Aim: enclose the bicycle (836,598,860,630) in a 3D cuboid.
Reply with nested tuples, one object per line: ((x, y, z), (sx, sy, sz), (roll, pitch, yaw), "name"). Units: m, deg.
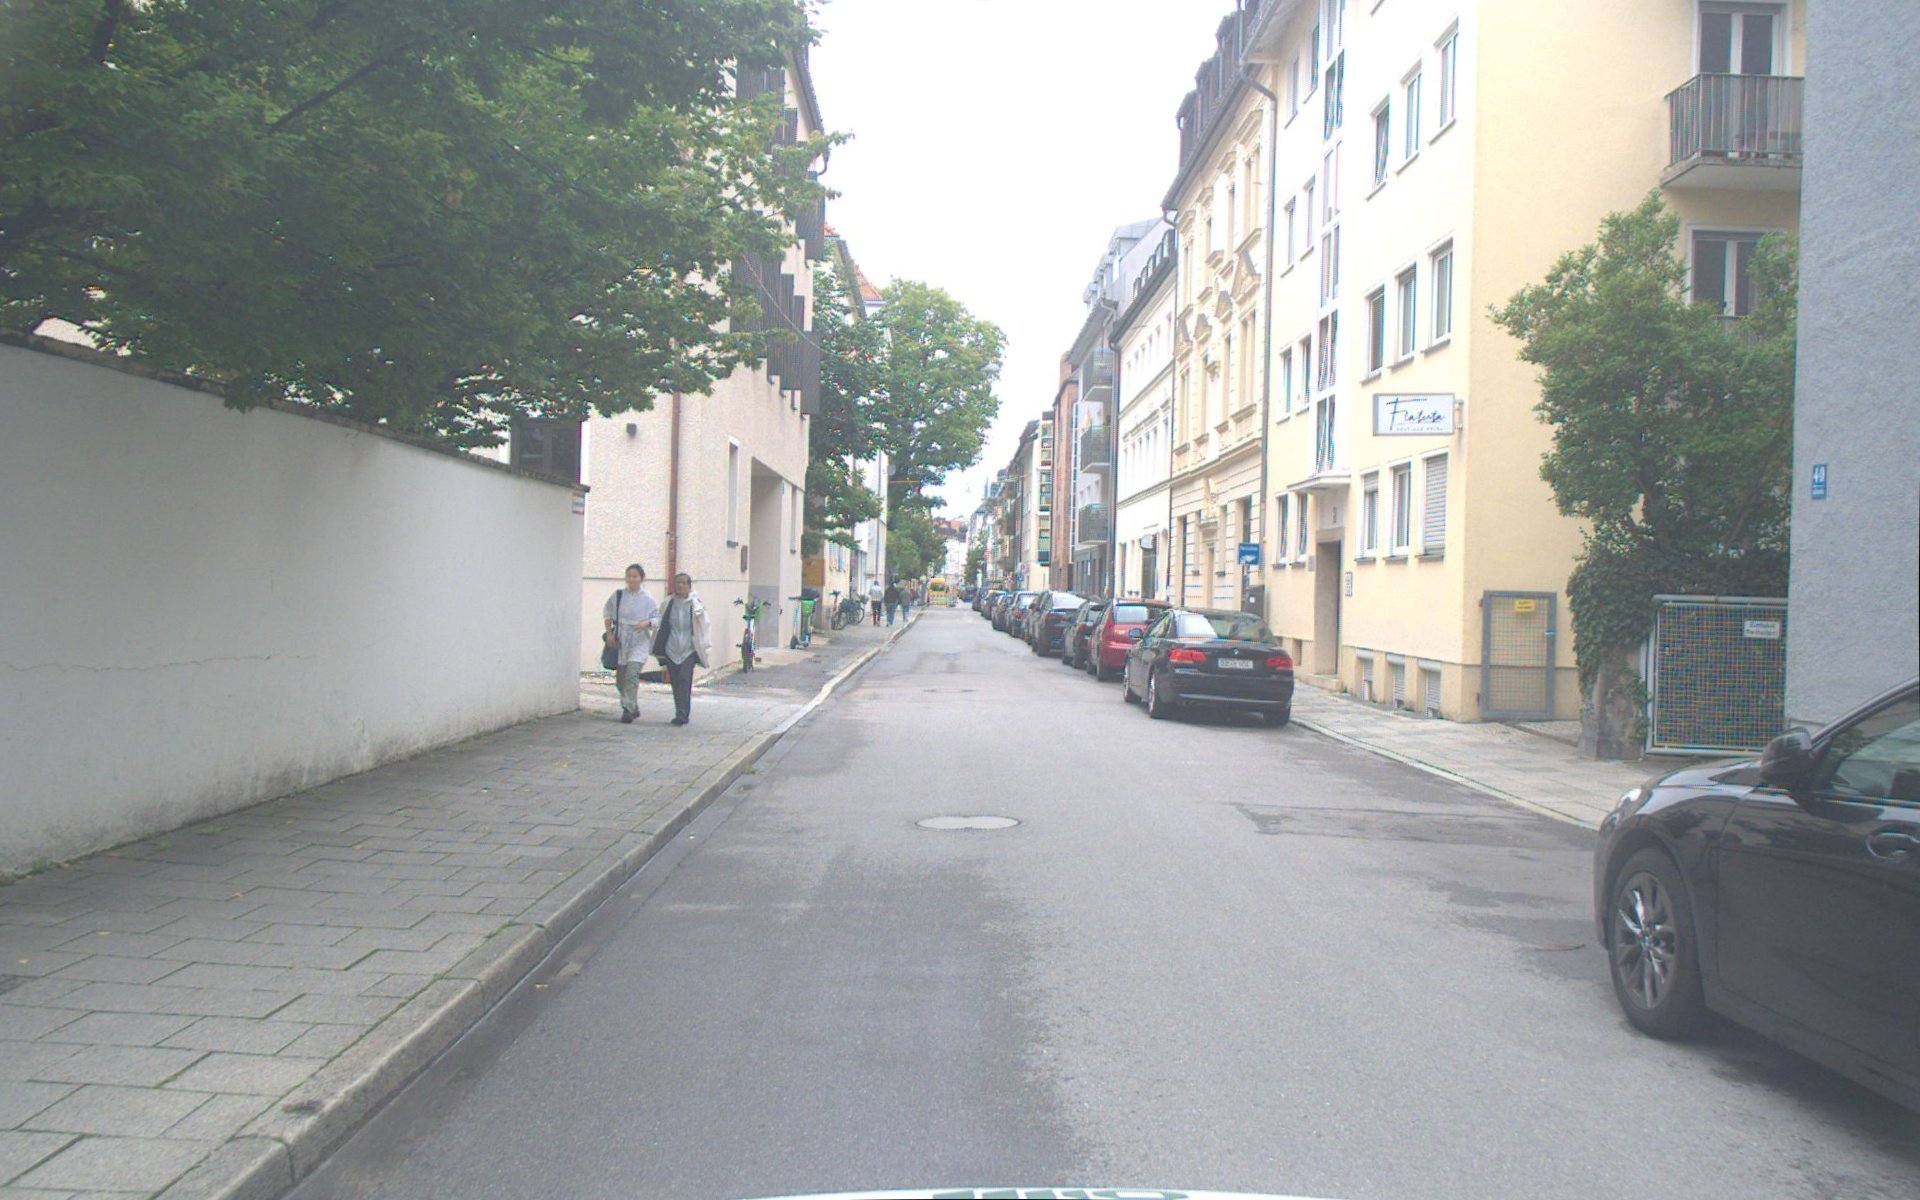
((-3.820, 0.464, 56.232), (0.690, 1.001, 1.821), (5, 0, -5), "bicycle")

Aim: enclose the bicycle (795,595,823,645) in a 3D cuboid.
((-3.740, 0.483, 41.166), (0.533, 1.181, 1.881), (3, 0, -2), "bicycle")

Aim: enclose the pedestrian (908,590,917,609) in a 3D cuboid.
((-3.994, -0.045, 138.565), (0.740, 1.517, 0.831), (0, 0, 0), "pedestrian")

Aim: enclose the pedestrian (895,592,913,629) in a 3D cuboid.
((-2.611, 0.477, 77.606), (0.737, 1.688, 0.906), (3, 0, -1), "pedestrian")

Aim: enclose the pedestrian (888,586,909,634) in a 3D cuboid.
((-2.402, 0.386, 64.462), (0.704, 1.796, 0.838), (3, 0, 0), "pedestrian")

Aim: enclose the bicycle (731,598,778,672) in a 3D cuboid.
((-3.401, 0.557, 27.529), (0.527, 1.159, 1.916), (3, 0, -1), "bicycle")

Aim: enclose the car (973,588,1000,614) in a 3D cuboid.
((2.077, 0.030, 129.382), (1.765, 1.851, 3.998), (5, 0, -3), "car")

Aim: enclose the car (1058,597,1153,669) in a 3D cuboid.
((3.123, 0.684, 36.185), (1.642, 1.417, 4.065), (1, 0, -1), "car")

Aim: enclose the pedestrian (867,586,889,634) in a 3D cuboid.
((-3.196, 0.391, 64.343), (0.704, 1.828, 0.917), (3, 0, 0), "pedestrian")

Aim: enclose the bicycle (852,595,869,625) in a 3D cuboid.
((-3.977, 0.394, 66.088), (0.551, 1.180, 1.718), (1, 0, -6), "bicycle")

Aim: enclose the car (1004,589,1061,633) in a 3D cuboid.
((2.732, 0.399, 63.155), (1.838, 1.598, 4.314), (0, 0, -2), "car")

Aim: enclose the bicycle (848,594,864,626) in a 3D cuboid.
((-4.038, 0.388, 64.372), (0.448, 1.179, 1.605), (3, 0, 0), "bicycle")

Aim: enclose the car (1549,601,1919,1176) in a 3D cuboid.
((3.406, 0.831, 4.538), (1.804, 1.453, 4.262), (5, 0, -3), "car")

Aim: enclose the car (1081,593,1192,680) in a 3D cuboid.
((3.309, 0.650, 31.595), (1.642, 1.518, 3.853), (1, 0, -1), "car")

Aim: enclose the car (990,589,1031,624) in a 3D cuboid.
((2.428, 0.296, 79.916), (1.739, 1.583, 3.999), (2, 0, -1), "car")

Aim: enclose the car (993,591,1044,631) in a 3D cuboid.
((2.373, 0.435, 68.036), (1.802, 1.555, 4.291), (2, 0, -2), "car")

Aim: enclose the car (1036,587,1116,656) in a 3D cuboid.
((2.947, 0.515, 42.800), (1.667, 1.635, 4.684), (1, 0, -1), "car")

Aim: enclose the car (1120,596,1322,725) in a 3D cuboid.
((3.311, 0.718, 21.878), (1.789, 1.357, 4.508), (5, 0, -1), "car")

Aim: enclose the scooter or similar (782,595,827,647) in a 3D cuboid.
((-3.675, 0.493, 39.102), (0.540, 1.163, 1.359), (4, 0, 16), "scooter or similar")

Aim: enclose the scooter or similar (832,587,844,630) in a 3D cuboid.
((-4.026, 0.267, 54.497), (0.311, 1.400, 1.239), (0, 0, -1), "scooter or similar")

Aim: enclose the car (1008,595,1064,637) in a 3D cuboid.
((2.650, 0.545, 58.234), (1.771, 1.387, 3.945), (1, 0, 0), "car")

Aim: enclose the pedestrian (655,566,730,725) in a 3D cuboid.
((-2.787, 0.466, 17.284), (0.610, 1.606, 0.714), (2, -1, -1), "pedestrian")

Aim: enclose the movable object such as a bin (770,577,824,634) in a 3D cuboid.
((-4.581, 0.145, 46.624), (1.150, 1.466, 1.249), (6, 2, 5), "movable object such as a bin")

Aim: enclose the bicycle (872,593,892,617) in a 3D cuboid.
((-4.229, 0.276, 89.050), (0.631, 1.239, 1.655), (1, 0, -19), "bicycle")

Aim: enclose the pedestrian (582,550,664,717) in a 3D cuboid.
((-3.460, 0.340, 17.020), (0.601, 1.649, 0.687), (4, 0, 0), "pedestrian")

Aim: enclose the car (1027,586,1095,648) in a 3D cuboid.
((2.918, 0.459, 48.558), (1.642, 1.690, 4.512), (1, 0, -1), "car")

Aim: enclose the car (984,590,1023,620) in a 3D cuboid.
((2.410, 0.279, 92.626), (1.848, 1.582, 4.389), (2, 0, -3), "car")

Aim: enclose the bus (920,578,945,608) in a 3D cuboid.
((-2.847, -0.699, 175.016), (2.540, 3.156, 6.305), (0, 0, 0), "bus")

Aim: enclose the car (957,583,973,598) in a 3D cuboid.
((0.635, -1.193, 207.286), (1.765, 1.741, 3.825), (5, 0, -2), "car")
